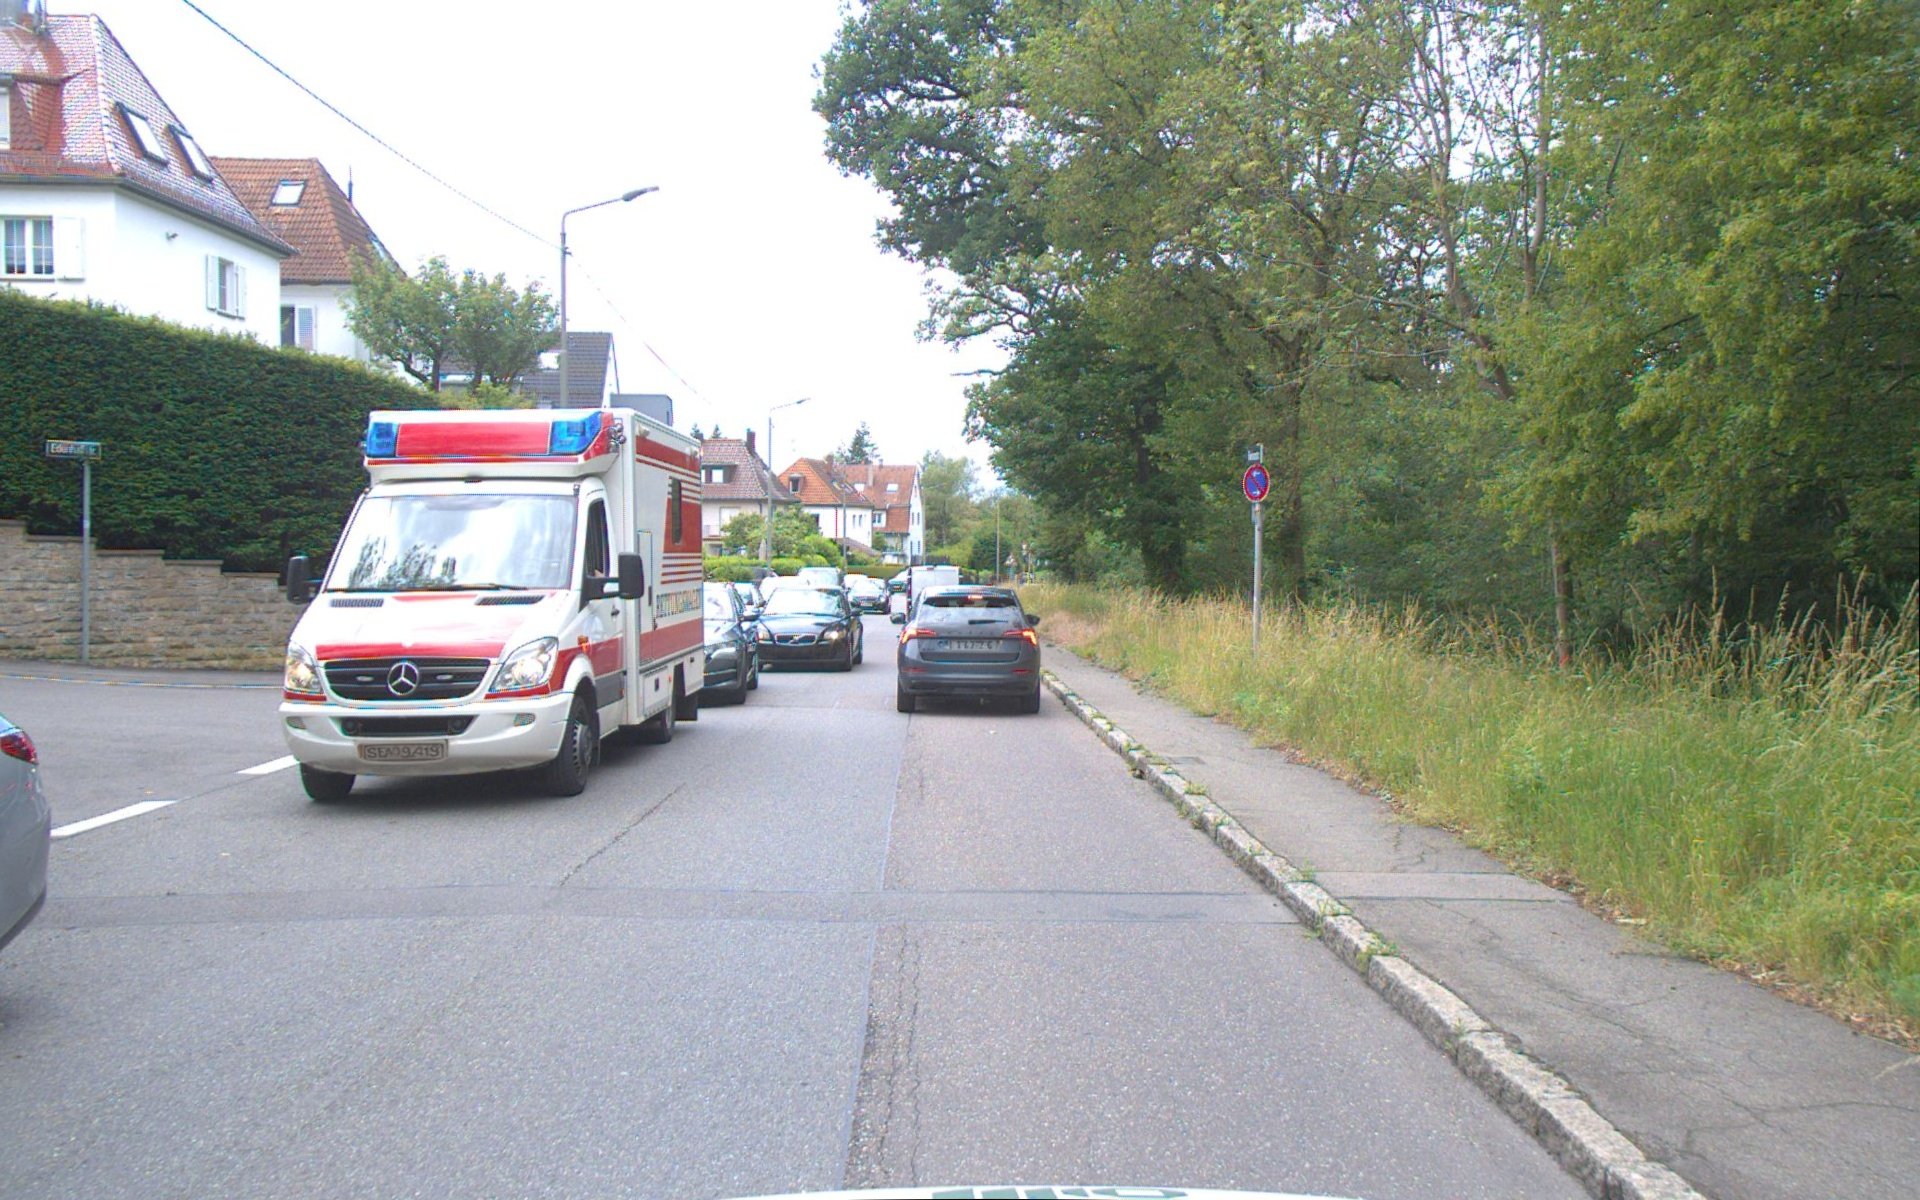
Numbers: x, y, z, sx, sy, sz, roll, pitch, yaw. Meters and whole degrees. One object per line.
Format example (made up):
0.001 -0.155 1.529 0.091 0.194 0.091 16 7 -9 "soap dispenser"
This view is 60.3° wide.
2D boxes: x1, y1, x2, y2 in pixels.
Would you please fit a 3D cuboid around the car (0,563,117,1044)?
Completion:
-3.981 0.698 3.543 1.761 1.531 4.864 -2 1 1 "car"

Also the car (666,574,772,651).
-5.226 0.223 36.332 1.728 1.525 4.473 -2 1 -1 "car"

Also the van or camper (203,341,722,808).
-3.659 -0.226 14.070 2.406 2.945 7.166 0 1 -2 "van or camper"

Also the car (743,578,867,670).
-2.640 0.358 29.041 1.727 1.471 4.474 0 1 0 "car"

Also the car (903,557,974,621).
-0.753 -0.401 53.896 2.031 1.955 4.919 1 1 -4 "car"

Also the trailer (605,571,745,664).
-4.975 0.249 29.426 1.727 1.522 4.473 0 1 0 "trailer"

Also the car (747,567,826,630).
-4.946 -0.073 47.646 1.800 1.677 4.185 -1 1 0 "car"

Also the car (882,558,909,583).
-4.476 -2.073 114.911 1.796 1.624 4.323 1 2 -2 "car"

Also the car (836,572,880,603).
-5.278 -0.643 85.789 1.746 1.526 4.017 2 1 4 "car"

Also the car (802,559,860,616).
-4.721 -0.492 61.080 1.825 1.960 5.037 1 1 -2 "car"

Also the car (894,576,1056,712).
0.085 0.468 20.782 1.694 1.464 4.321 1 1 -4 "car"

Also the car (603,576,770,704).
-3.444 0.428 21.557 1.729 1.471 4.470 0 1 -4 "car"

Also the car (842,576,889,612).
-3.989 -0.276 70.080 1.825 1.439 4.591 1 1 -2 "car"
